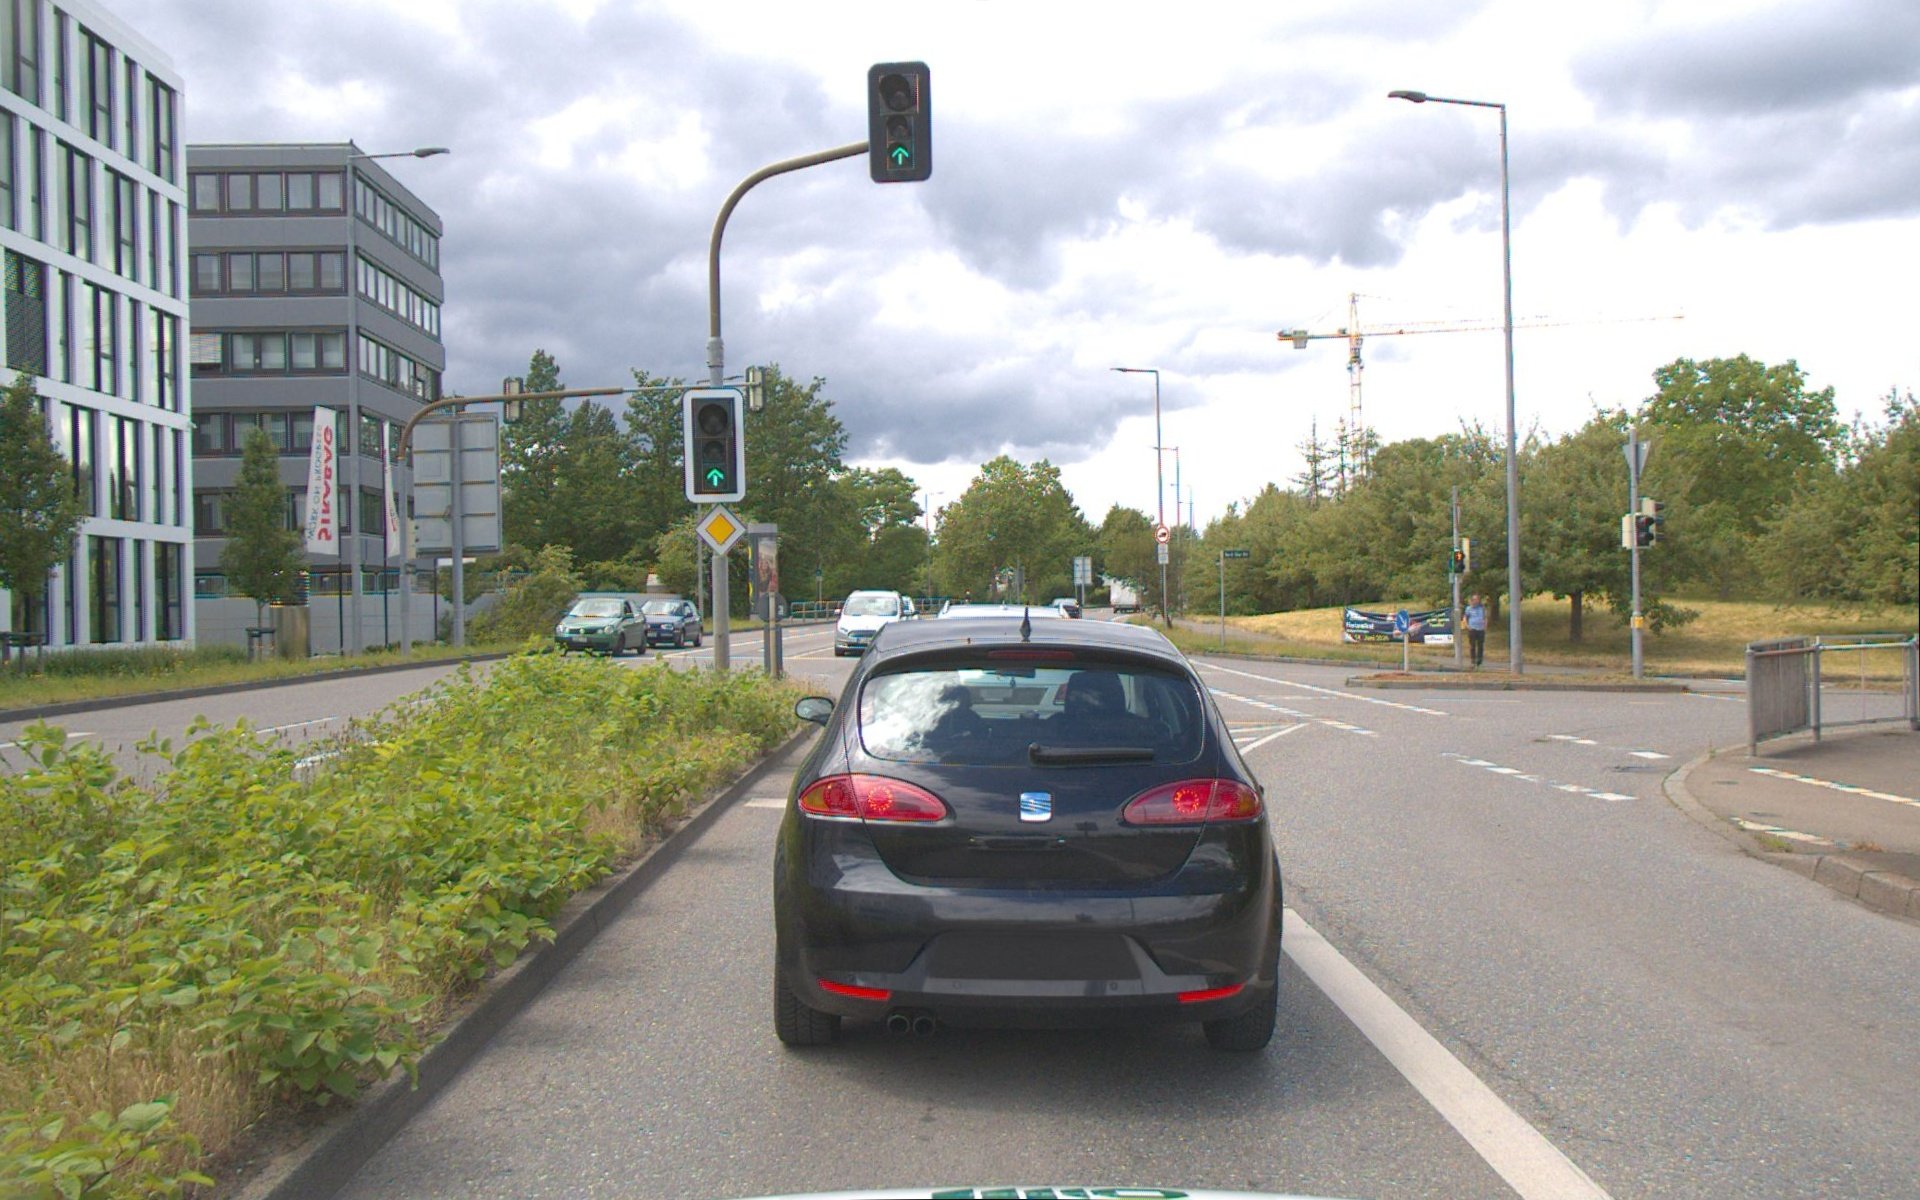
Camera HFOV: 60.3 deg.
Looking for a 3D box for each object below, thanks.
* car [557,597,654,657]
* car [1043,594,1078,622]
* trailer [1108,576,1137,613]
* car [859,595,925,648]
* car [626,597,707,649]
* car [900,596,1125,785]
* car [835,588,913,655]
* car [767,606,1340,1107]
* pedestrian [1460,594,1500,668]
[{"bbox_3d":[-8.995,0.645,42.174,1.572,1.457,3.753,0,0,1],"label":"car"},{"bbox_3d":[5.814,0.434,96.276,1.952,1.593,4.472,0,0,3],"label":"car"},{"bbox_3d":[14.221,-0.427,144.861,2.438,3.127,5.590,1,-1,6],"label":"trailer"},{"bbox_3d":[-2.060,0.625,51.048,1.625,1.545,4.086,1,0,3],"label":"car"},{"bbox_3d":[-8.644,0.651,48.933,1.521,1.444,3.897,0,0,3],"label":"car"},{"bbox_3d":[0.438,0.744,15.193,1.797,1.493,3.751,1,-1,0],"label":"car"},{"bbox_3d":[-2.291,0.540,44.966,1.783,1.716,4.646,1,0,1],"label":"car"},{"bbox_3d":[0.260,0.768,6.612,1.676,1.442,3.458,1,0,-1],"label":"car"},{"bbox_3d":[13.077,0.767,41.606,0.703,1.824,1.044,1,-1,3],"label":"pedestrian"}]
